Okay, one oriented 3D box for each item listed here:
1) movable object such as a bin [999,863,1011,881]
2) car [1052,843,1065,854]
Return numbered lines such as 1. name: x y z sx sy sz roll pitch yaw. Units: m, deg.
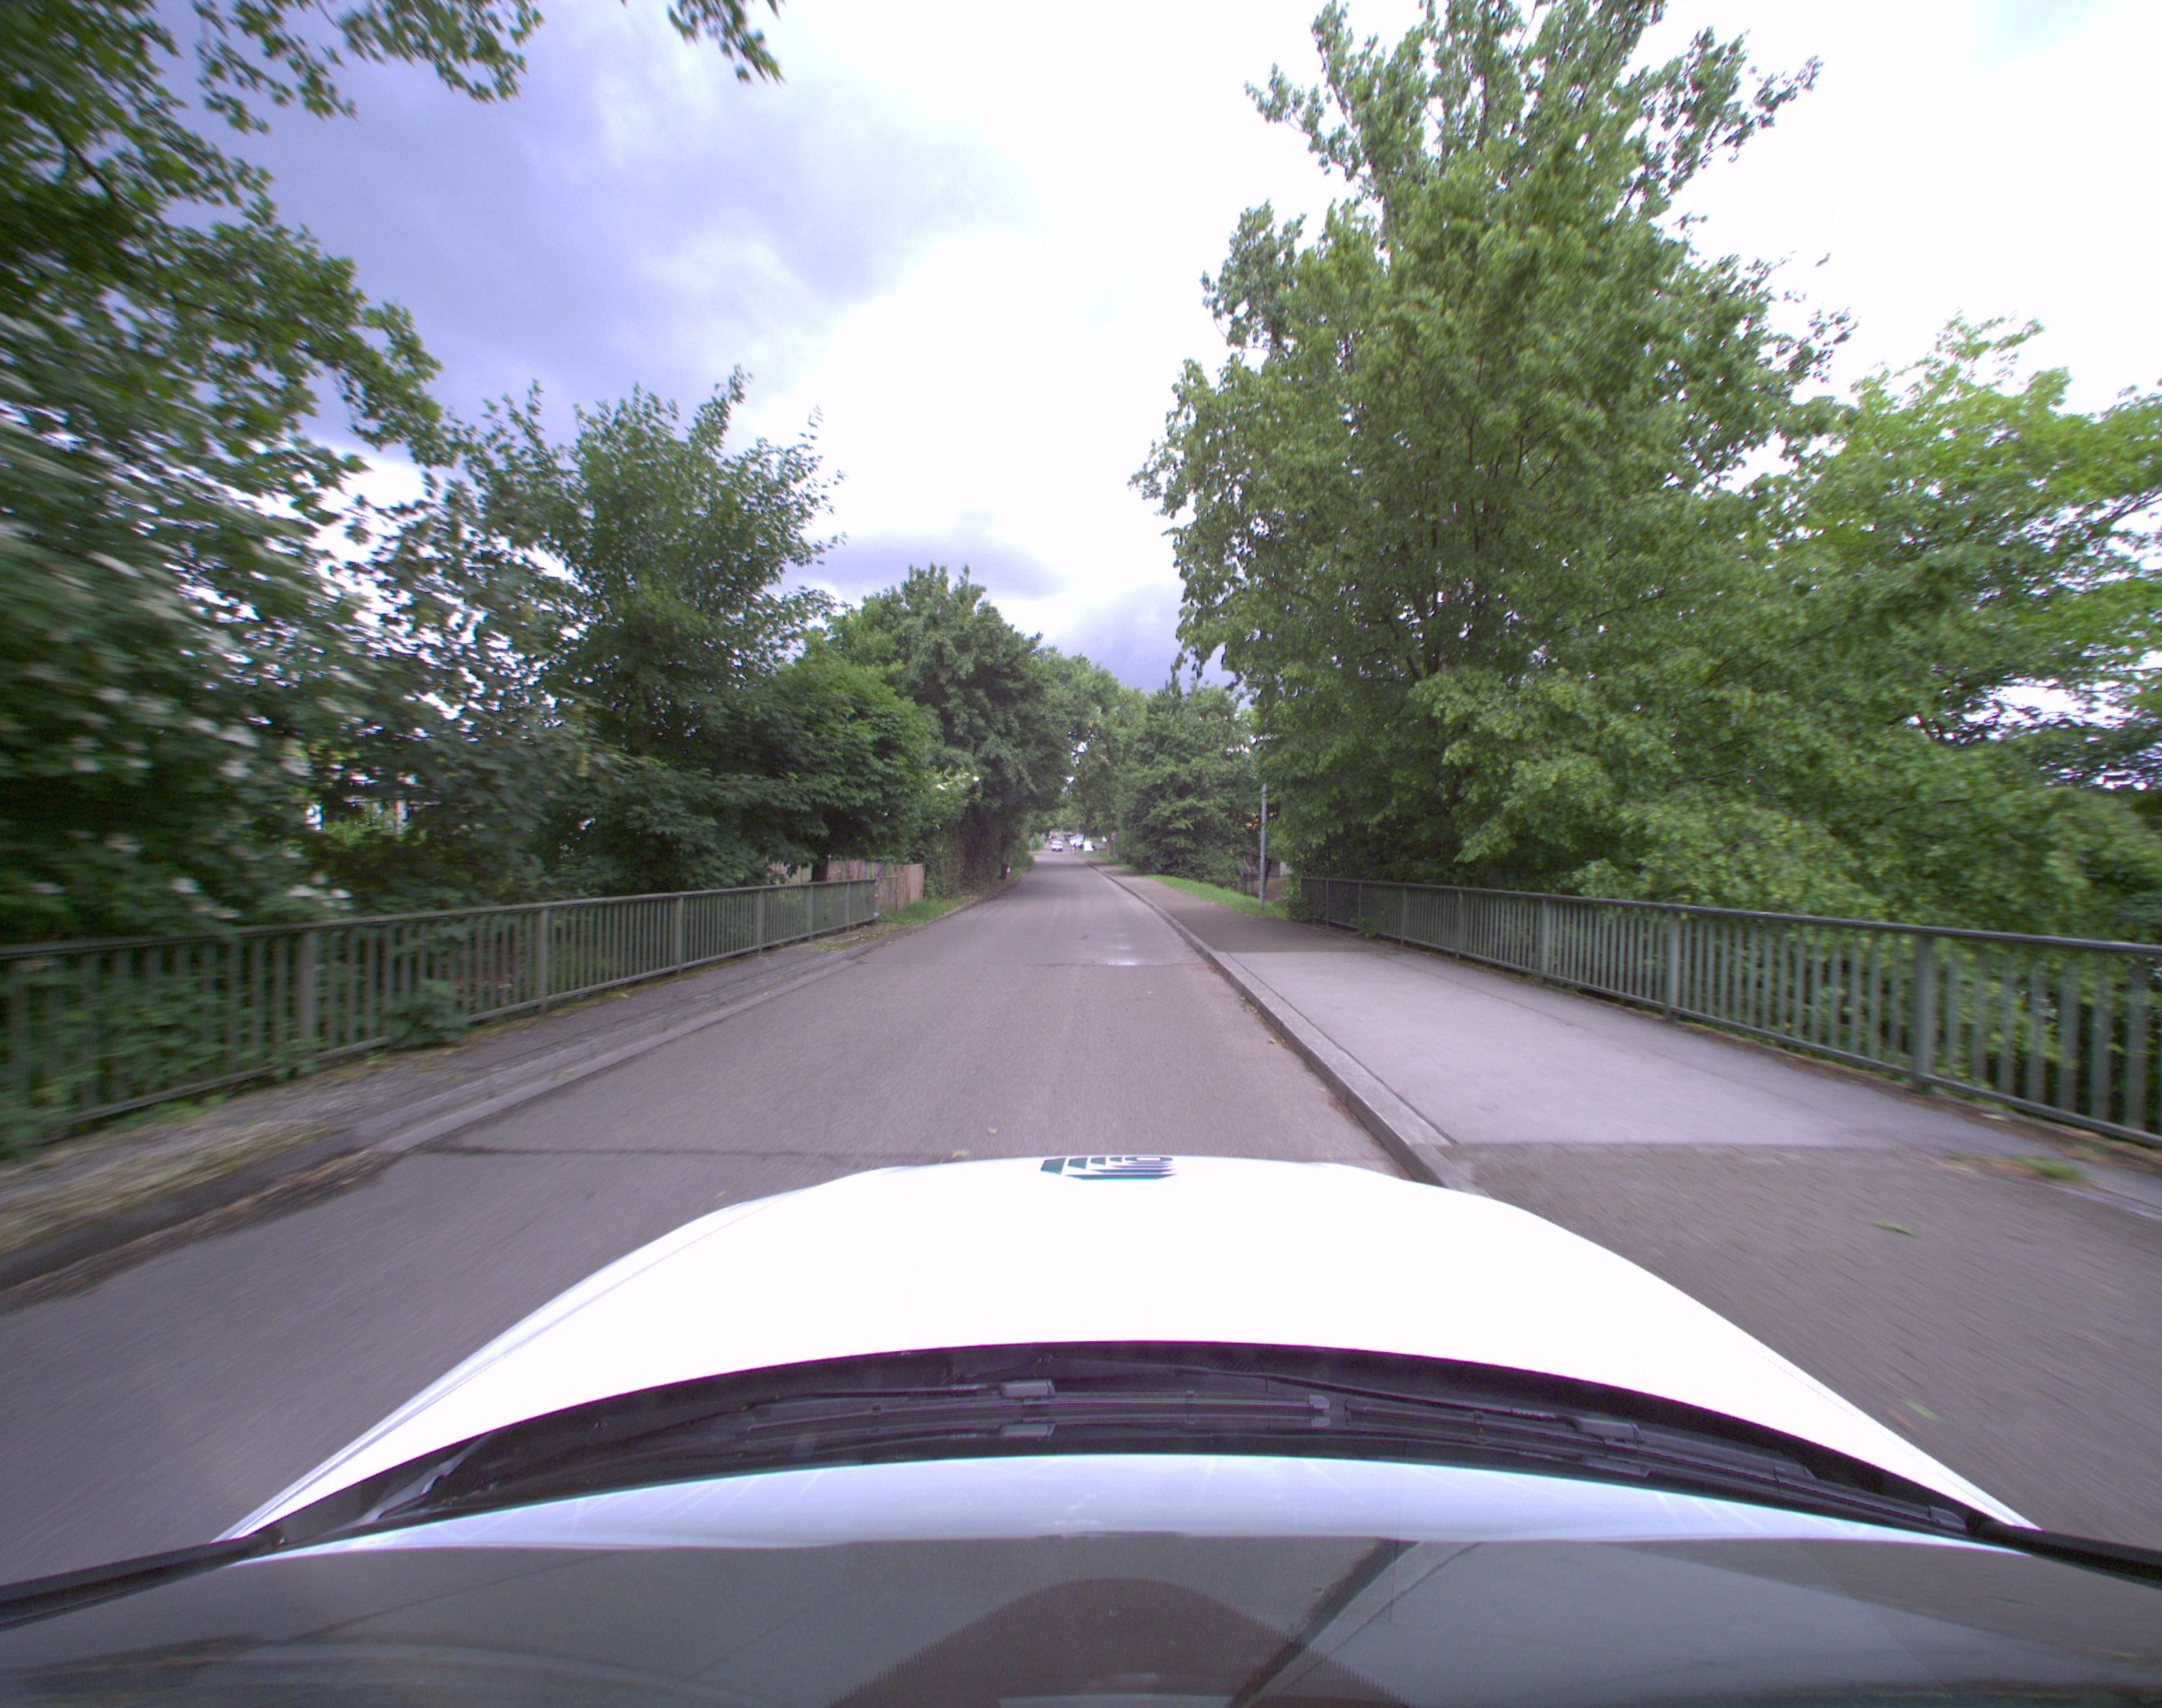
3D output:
1. movable object such as a bin: -4.029 0.952 43.268 0.588 0.957 0.470 1 -1 -1
2. car: -3.867 -1.010 140.529 1.987 1.772 3.999 1 -1 0
